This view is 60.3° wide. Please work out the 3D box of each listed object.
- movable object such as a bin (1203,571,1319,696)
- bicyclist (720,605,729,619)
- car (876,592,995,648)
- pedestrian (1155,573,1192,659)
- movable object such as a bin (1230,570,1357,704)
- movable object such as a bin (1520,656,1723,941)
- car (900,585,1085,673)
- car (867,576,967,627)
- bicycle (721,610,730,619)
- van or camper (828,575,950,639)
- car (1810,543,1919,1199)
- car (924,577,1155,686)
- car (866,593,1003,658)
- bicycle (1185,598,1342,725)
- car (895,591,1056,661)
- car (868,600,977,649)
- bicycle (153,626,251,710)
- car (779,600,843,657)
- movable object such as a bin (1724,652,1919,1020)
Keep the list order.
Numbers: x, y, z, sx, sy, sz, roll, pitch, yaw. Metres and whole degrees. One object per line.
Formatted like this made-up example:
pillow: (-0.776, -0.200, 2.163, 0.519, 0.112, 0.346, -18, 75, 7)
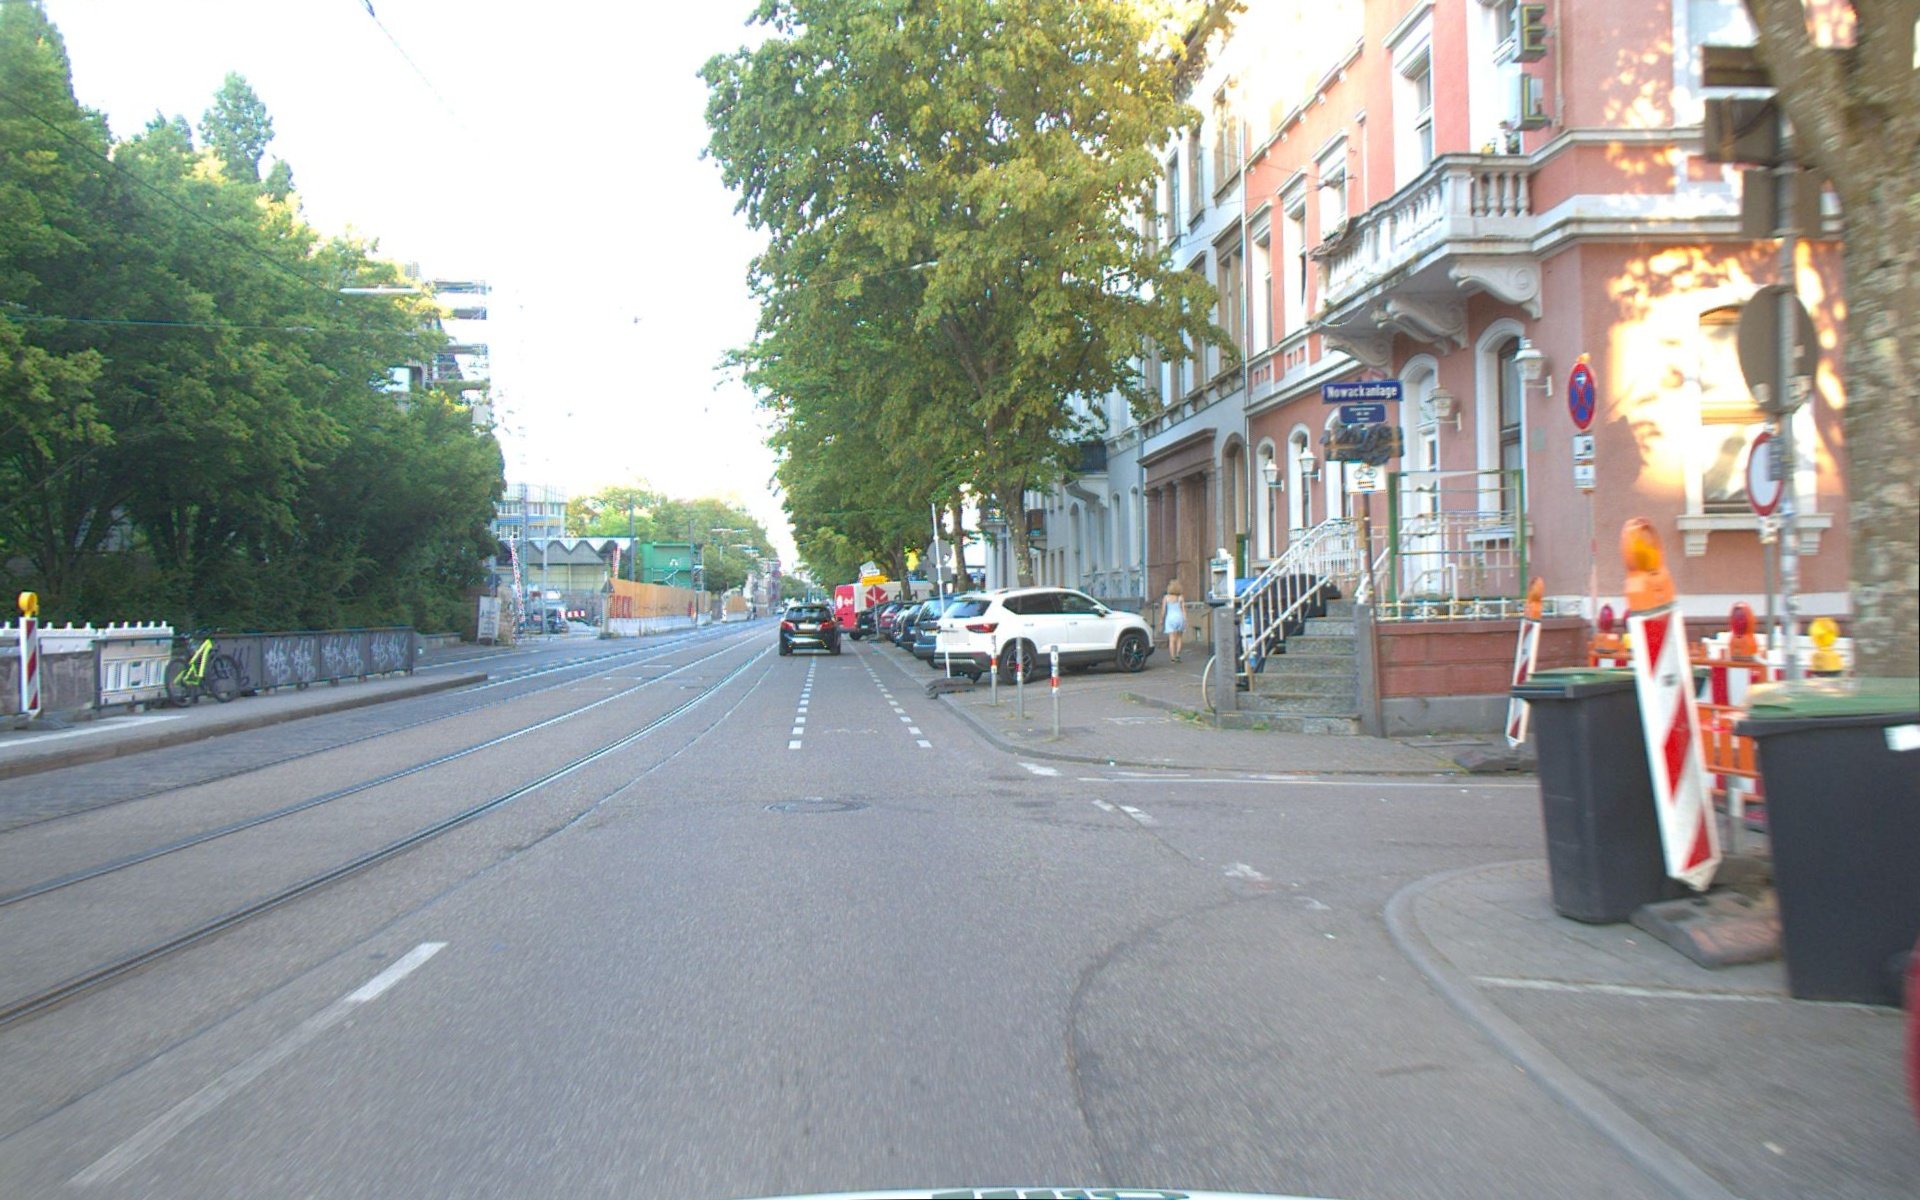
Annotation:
movable object such as a bin: (3.822, 0.406, 21.116, 1.118, 1.528, 1.397, -1, 0, -5)
bicyclist: (-25.291, 1.286, 177.523, 0.927, 1.369, 1.109, -2, -1, -8)
car: (-0.861, 0.704, 59.397, 3.914, 1.631, 1.816, -5, 0, -37)
pedestrian: (4.136, 0.303, 32.126, 0.575, 1.637, 0.624, -1, 0, -5)
movable object such as a bin: (3.943, 0.421, 19.677, 1.118, 1.528, 1.397, -1, 0, -5)
movable object such as a bin: (2.890, 0.845, 7.280, 0.697, 1.174, 0.589, 0, 0, 7)
car: (0.776, 0.642, 37.483, 3.922, 1.697, 1.872, -4, 0, -42)
car: (-1.894, 0.062, 72.585, 3.906, 1.795, 1.820, -6, 0, -32)
bicycle: (-25.270, 1.577, 178.318, 0.930, 0.864, 2.692, -1, 0, -8)
van or camper: (-3.313, 0.304, 77.899, 5.499, 2.574, 2.056, -4, 0, -40)
car: (2.916, 0.615, 2.270, 1.533, 1.563, 3.693, -3, 0, 0)
car: (1.458, 0.522, 29.583, 3.911, 1.655, 1.653, -4, 1, -36)
car: (-0.778, 0.785, 51.669, 3.915, 1.631, 1.816, -6, 1, -37)
bicycle: (3.343, 0.648, 18.120, 1.900, 1.288, 0.593, -1, 0, -40)
car: (0.431, 0.674, 43.522, 3.913, 1.631, 1.816, -3, -1, -37)
car: (-1.474, 0.980, 66.059, 3.905, 1.631, 1.820, -5, 0, -32)
bicycle: (-10.638, 0.933, 23.290, 0.453, 1.094, 2.021, -1, 0, -1)
car: (-4.606, 0.857, 51.025, 1.845, 1.648, 3.995, 2, 0, -5)
movable object such as a bin: (3.135, 0.783, 5.791, 0.702, 1.174, 0.620, -1, 0, 38)
